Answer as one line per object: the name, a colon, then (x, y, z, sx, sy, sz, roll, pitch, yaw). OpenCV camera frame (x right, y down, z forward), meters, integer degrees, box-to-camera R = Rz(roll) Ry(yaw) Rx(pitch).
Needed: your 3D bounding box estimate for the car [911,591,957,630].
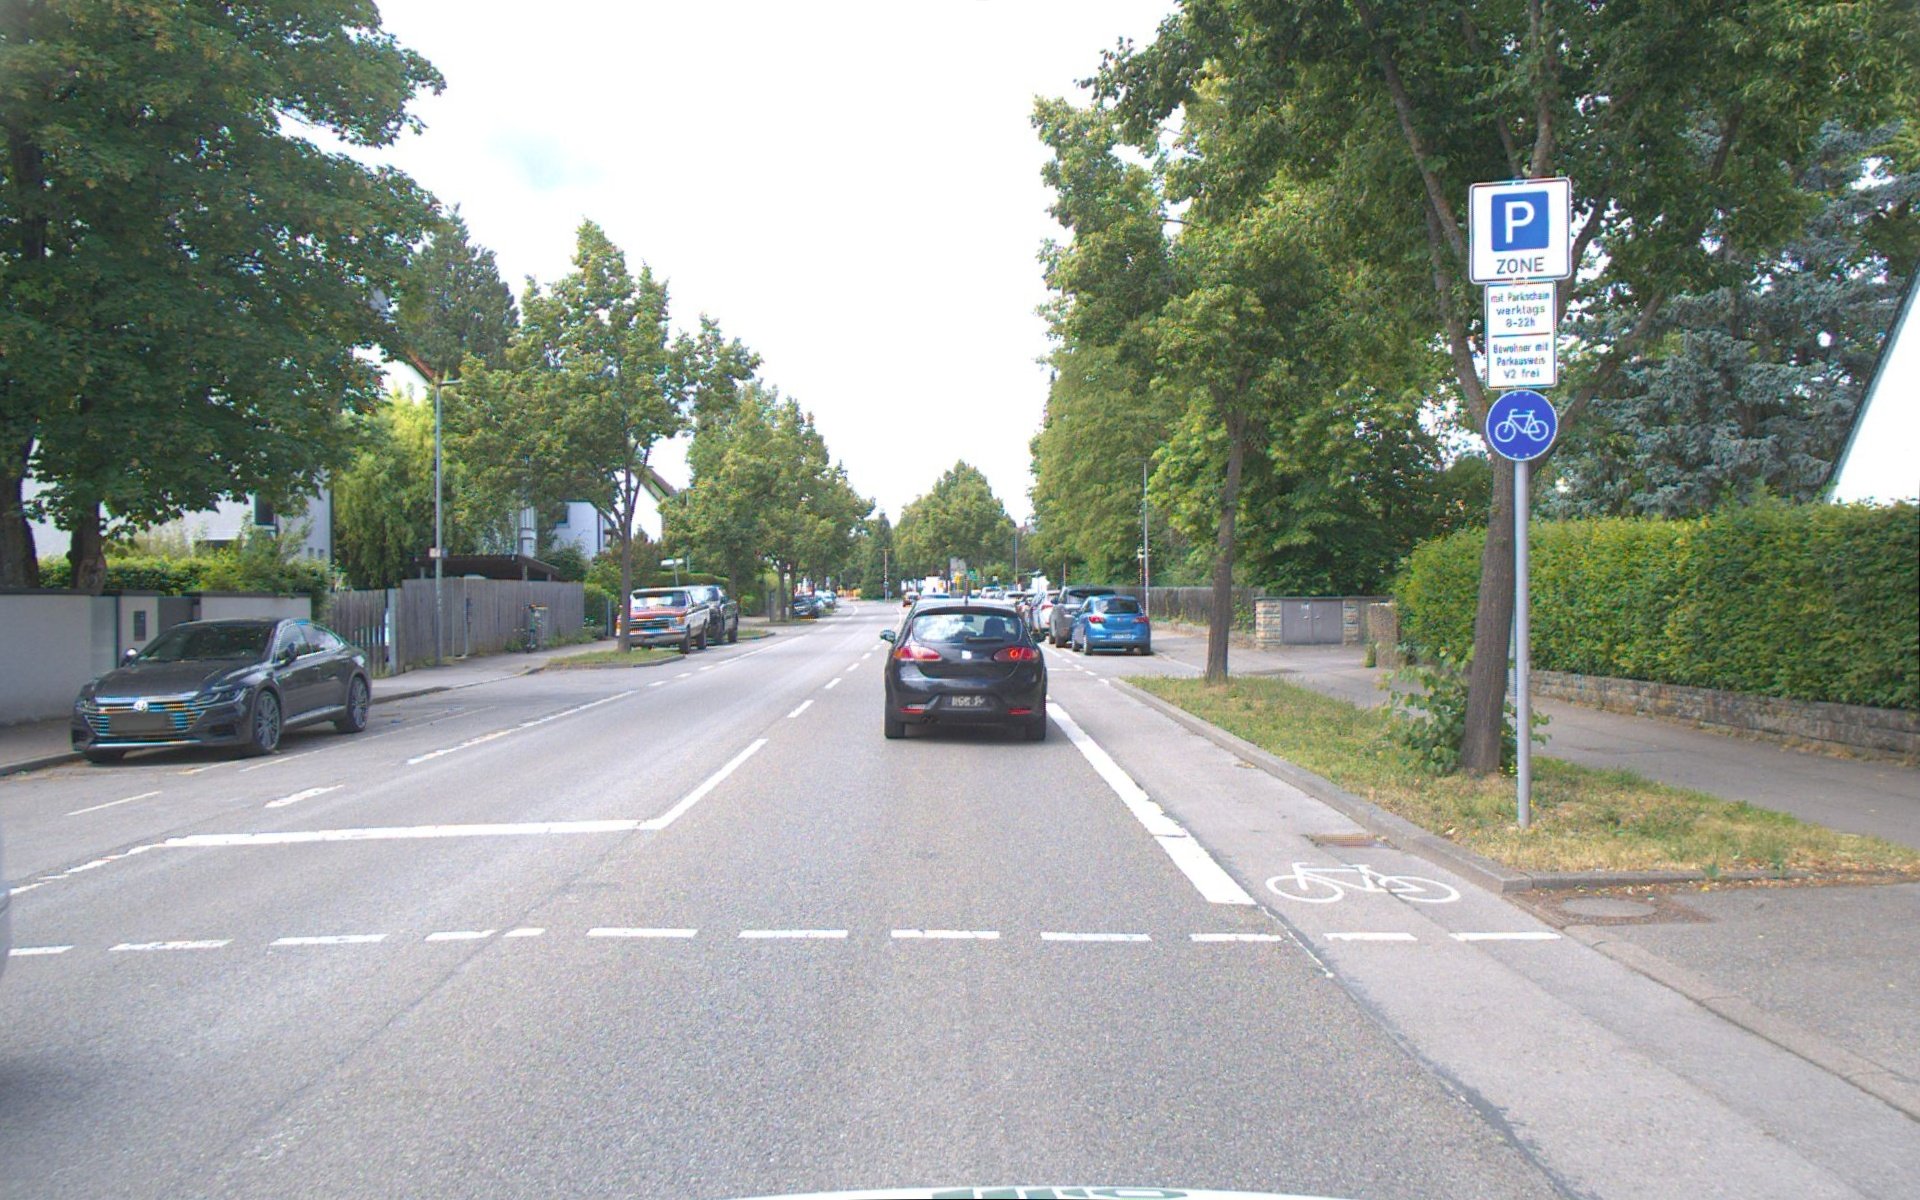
car: (-1.062, 0.429, 68.714, 1.808, 1.536, 3.811, 1, 0, 0)

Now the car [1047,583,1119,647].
car: (3.496, 0.403, 47.697, 1.654, 1.741, 4.212, -1, 0, -2)

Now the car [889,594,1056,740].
car: (0.046, 0.674, 18.349, 1.629, 1.426, 3.809, 1, 0, -3)

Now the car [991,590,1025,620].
car: (2.614, 0.279, 90.806, 1.654, 1.591, 4.212, -1, 0, -2)

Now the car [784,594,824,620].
car: (-9.850, 0.423, 104.892, 2.057, 1.532, 5.782, -2, 0, -2)

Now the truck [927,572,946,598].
truck: (-3.090, -1.926, 217.066, 2.233, 3.158, 8.506, 1, 0, -2)

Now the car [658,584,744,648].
car: (-8.556, 0.510, 55.144, 2.057, 1.929, 5.782, -2, 0, -2)

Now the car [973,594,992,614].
car: (2.147, 0.377, 158.422, 1.654, 1.908, 4.212, -1, 0, -2)

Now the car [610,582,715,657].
car: (-8.453, 0.517, 47.482, 2.057, 1.929, 5.782, -2, 0, -2)

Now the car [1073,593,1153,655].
car: (3.899, 0.582, 42.594, 1.654, 1.516, 3.354, -1, 0, -2)

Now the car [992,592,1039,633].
car: (2.208, 0.483, 66.648, 1.654, 1.591, 4.212, -1, 0, -2)

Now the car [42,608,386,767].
car: (-7.977, 0.851, 18.243, 1.683, 1.419, 4.799, -2, 0, -2)

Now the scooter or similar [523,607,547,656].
scooter or similar: (-11.345, 0.830, 44.174, 0.380, 1.251, 1.497, 0, 0, -5)

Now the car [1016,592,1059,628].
car: (3.513, 0.455, 75.446, 1.654, 1.591, 4.212, -1, 0, -2)

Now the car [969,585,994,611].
car: (1.589, -0.145, 122.295, 1.654, 1.908, 4.212, -1, 0, -2)

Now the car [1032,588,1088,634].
car: (3.591, 0.383, 60.181, 1.654, 1.591, 4.212, -1, 0, -2)

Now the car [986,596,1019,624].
car: (2.466, 0.547, 96.587, 1.654, 1.591, 4.212, -1, 0, -2)

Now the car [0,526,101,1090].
car: (-3.783, 0.651, 3.256, 1.836, 1.663, 4.340, -2, 0, 0)

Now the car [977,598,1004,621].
car: (2.112, 0.646, 115.323, 1.654, 1.591, 4.212, -1, 0, -2)

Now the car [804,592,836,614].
car: (-10.784, 0.219, 127.559, 2.057, 1.532, 5.782, -2, 0, -2)

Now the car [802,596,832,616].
car: (-11.857, 0.505, 137.584, 2.057, 1.532, 5.782, -2, 0, -2)

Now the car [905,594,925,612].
car: (-4.303, 0.290, 157.004, 1.843, 1.718, 4.212, -1, 0, -2)
